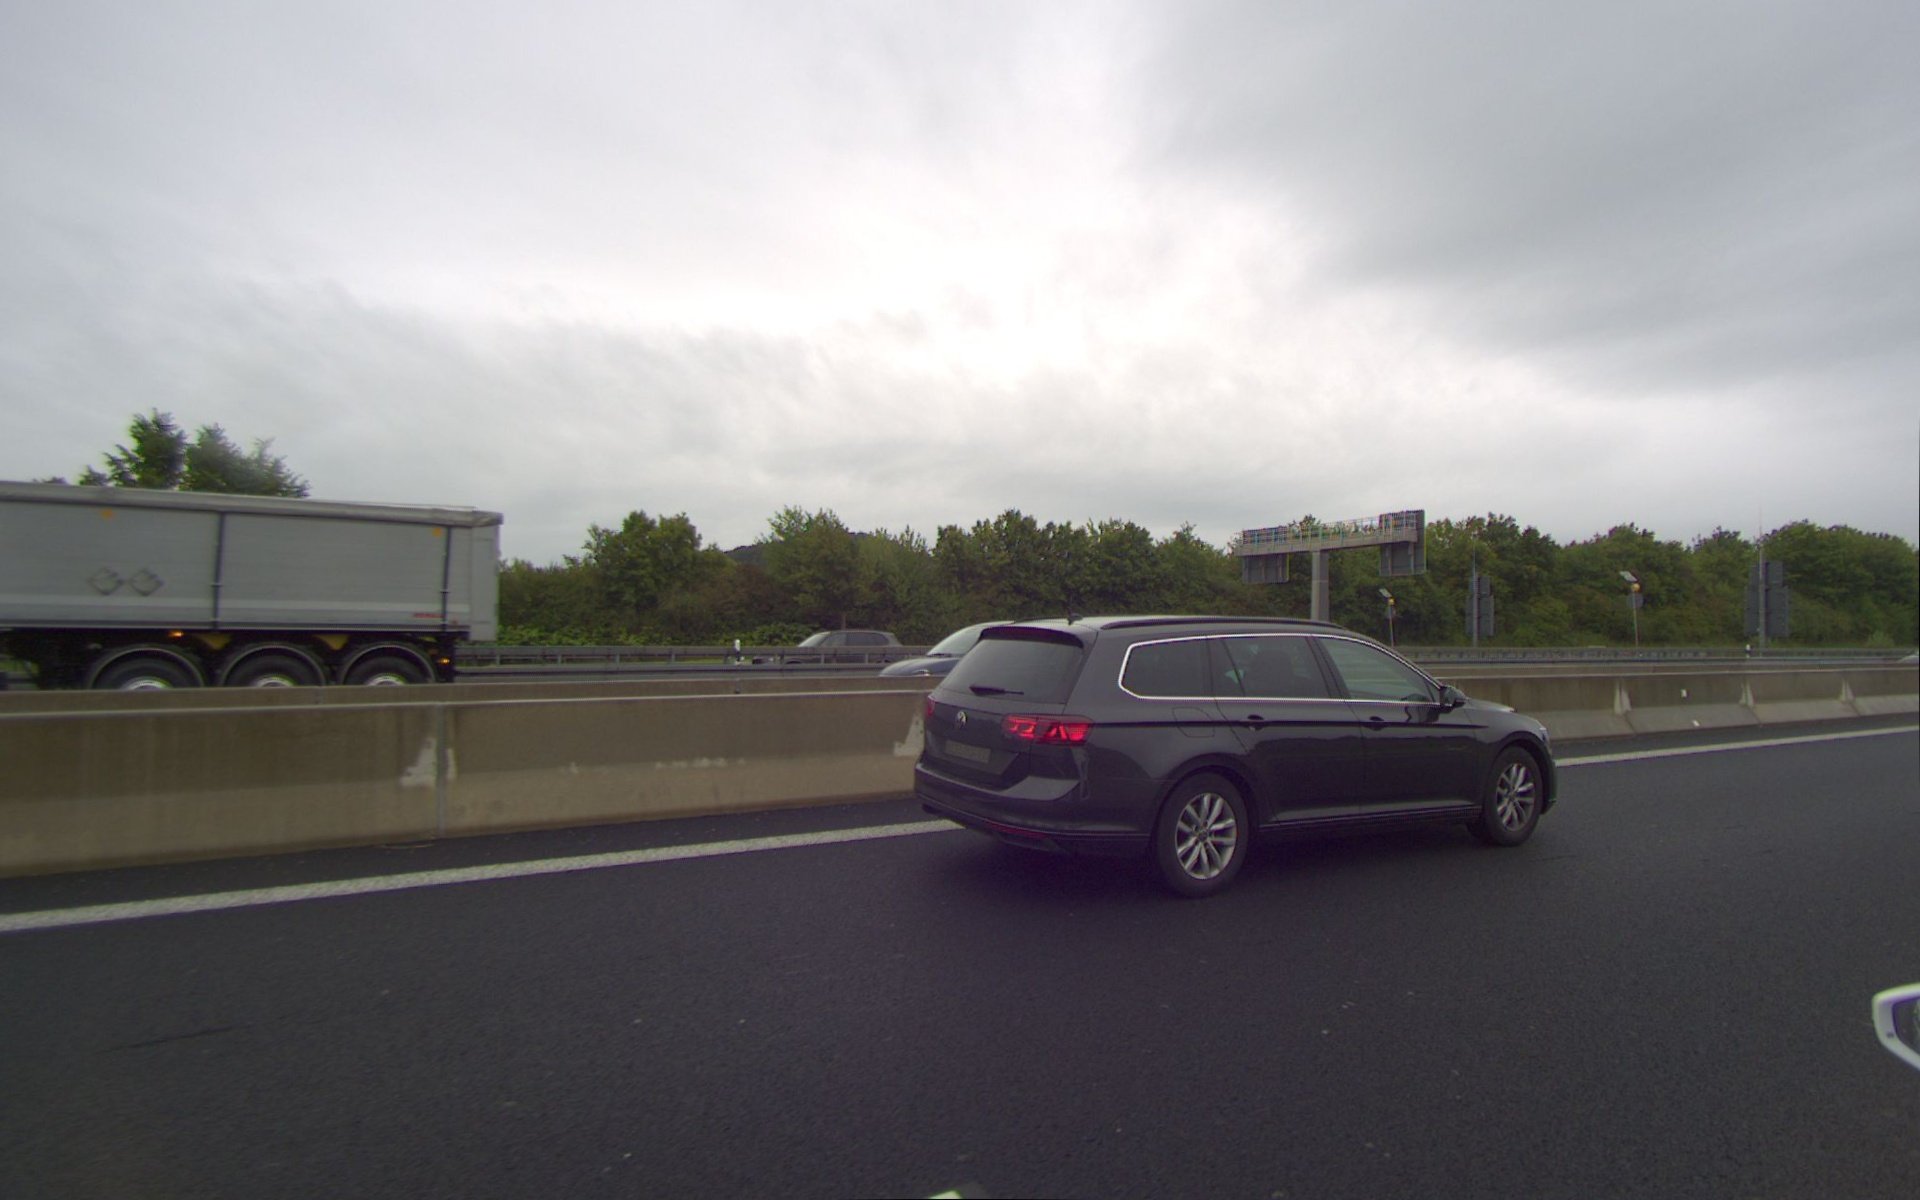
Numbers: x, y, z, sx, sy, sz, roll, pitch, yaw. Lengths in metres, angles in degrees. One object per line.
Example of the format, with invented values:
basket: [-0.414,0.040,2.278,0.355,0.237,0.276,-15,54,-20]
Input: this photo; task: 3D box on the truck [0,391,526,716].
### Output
truck: [-12.095,-0.560,12.779,11.770,3.760,2.954,1,0,-31]

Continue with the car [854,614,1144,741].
car: [0.612,1.055,14.676,3.953,1.617,1.705,2,-1,-30]

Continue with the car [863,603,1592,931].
car: [1.906,0.823,6.553,4.746,1.478,1.779,2,0,-31]

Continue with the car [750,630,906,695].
car: [-4.069,1.886,31.092,4.410,1.832,1.893,2,-1,-31]

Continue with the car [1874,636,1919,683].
car: [32.806,1.989,33.919,3.953,1.528,1.789,2,-2,-30]

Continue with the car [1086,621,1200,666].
car: [7.613,1.785,41.696,4.452,1.785,1.984,2,-2,-30]
